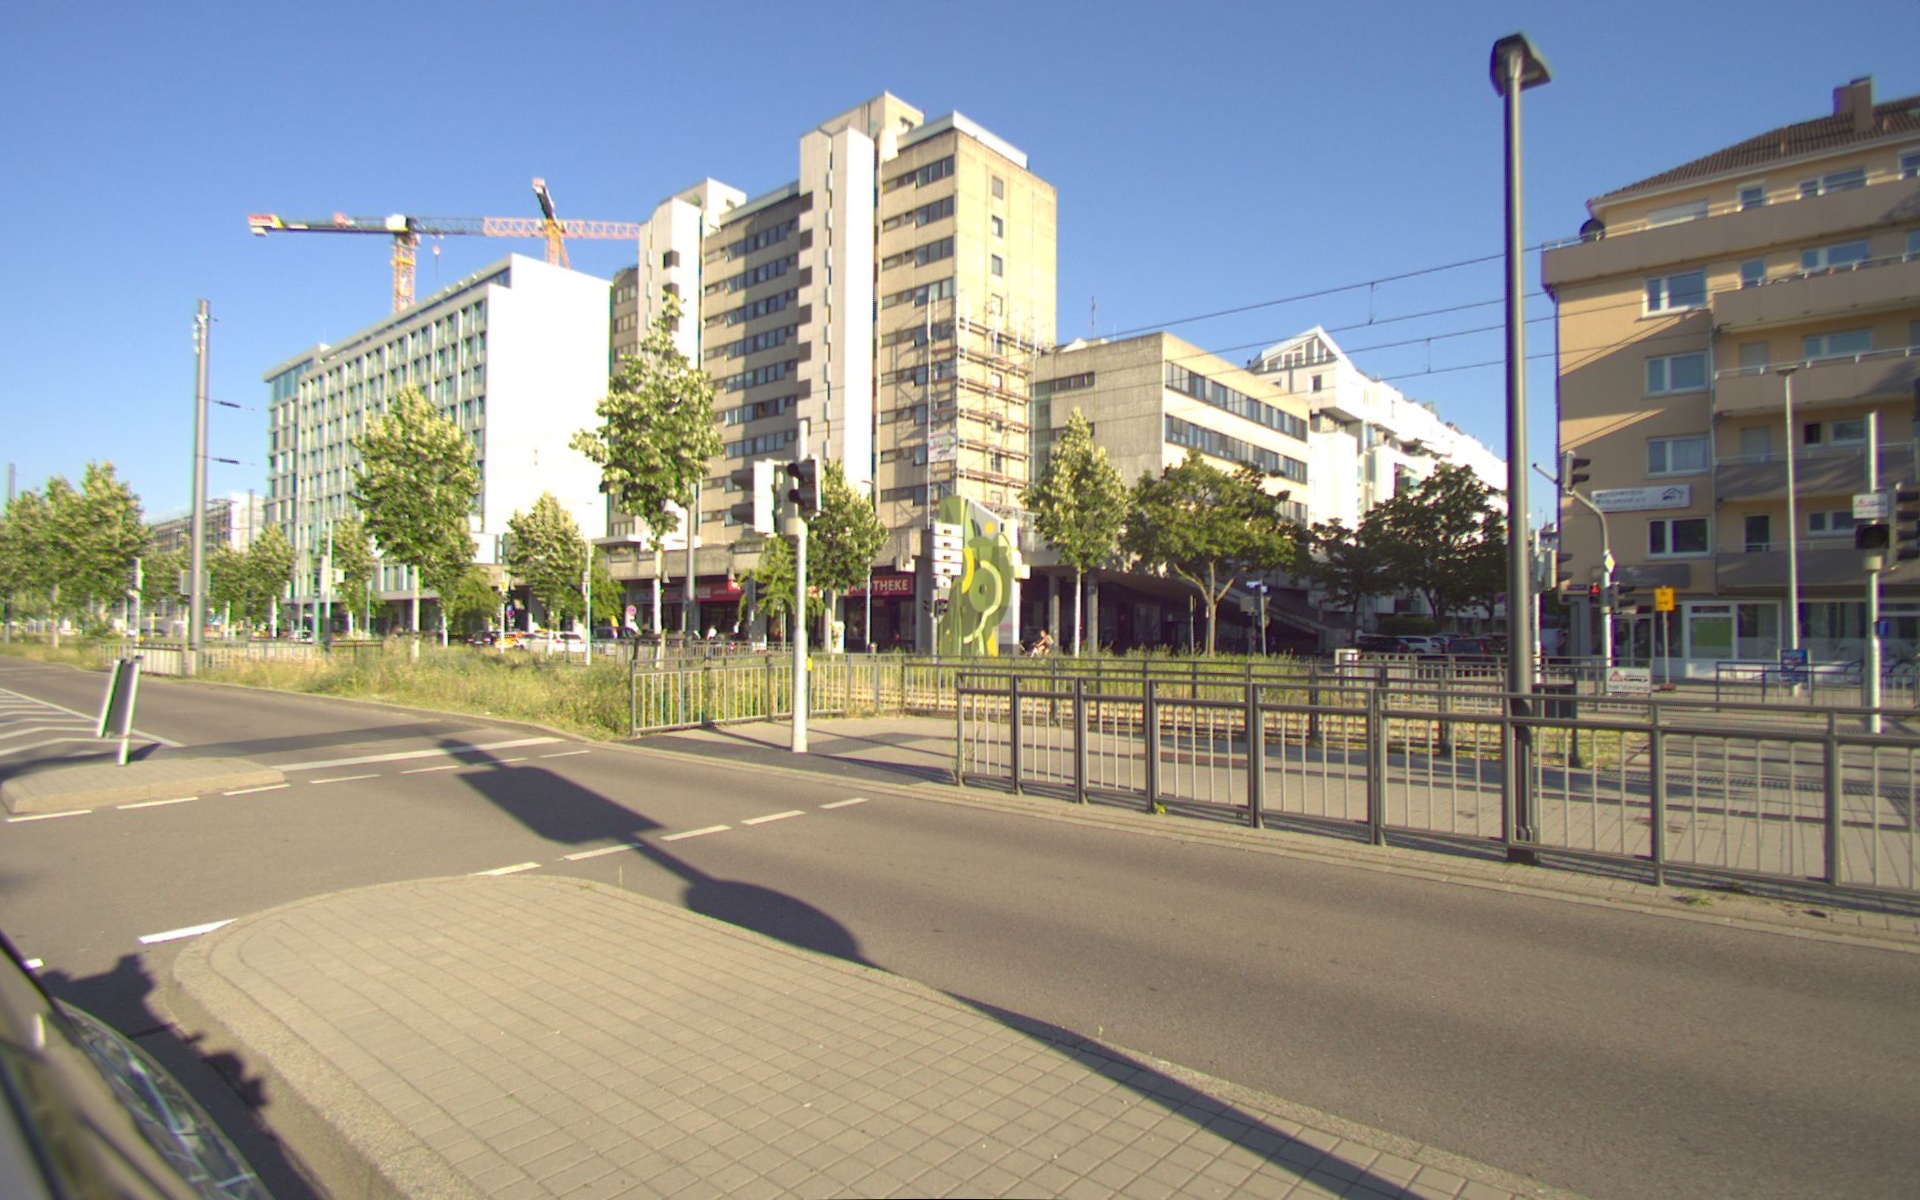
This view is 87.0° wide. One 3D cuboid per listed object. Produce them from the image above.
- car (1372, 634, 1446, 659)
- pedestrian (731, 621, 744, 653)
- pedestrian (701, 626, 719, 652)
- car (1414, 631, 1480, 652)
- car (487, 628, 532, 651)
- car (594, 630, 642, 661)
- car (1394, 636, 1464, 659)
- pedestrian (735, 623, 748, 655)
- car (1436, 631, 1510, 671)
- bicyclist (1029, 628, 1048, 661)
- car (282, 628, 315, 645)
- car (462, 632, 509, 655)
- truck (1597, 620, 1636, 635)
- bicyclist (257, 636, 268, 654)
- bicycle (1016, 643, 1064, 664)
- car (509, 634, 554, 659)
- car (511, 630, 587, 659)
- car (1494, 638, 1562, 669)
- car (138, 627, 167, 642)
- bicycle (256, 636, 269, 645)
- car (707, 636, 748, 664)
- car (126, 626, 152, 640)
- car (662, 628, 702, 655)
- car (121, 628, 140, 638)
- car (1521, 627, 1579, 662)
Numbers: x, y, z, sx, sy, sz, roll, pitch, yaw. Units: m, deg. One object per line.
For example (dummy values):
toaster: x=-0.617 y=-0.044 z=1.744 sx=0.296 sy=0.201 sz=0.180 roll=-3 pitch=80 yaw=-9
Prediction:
car: x=29.188 y=3.004 z=65.819 sx=3.998 sy=1.524 sz=1.972 roll=-2 pitch=-2 yaw=42
pedestrian: x=-14.178 y=2.341 z=64.564 sx=0.654 sy=2.029 sz=0.542 roll=-1 pitch=-2 yaw=40
pedestrian: x=-15.985 y=2.472 z=64.674 sx=0.882 sy=1.652 sz=0.767 roll=-1 pitch=-2 yaw=39
car: x=35.442 y=3.000 z=73.699 sx=3.998 sy=1.524 sz=1.972 roll=-2 pitch=-2 yaw=42
car: x=-31.440 y=2.718 z=70.719 sx=1.762 sy=1.455 sz=3.806 roll=-1 pitch=0 yaw=-5
car: x=-21.108 y=2.776 z=62.684 sx=1.598 sy=1.703 sz=4.197 roll=-1 pitch=0 yaw=-1
car: x=32.283 y=3.268 z=69.719 sx=3.998 sy=1.524 sz=1.972 roll=-2 pitch=-2 yaw=42
pedestrian: x=-14.321 y=2.550 z=66.325 sx=0.654 sy=2.029 sz=0.542 roll=-1 pitch=-2 yaw=40
car: x=20.628 y=1.990 z=40.622 sx=1.845 sy=1.508 sz=3.947 roll=-1 pitch=-2 yaw=39
bicyclist: x=3.382 y=1.892 z=43.540 sx=0.710 sy=1.405 sz=0.732 roll=-1 pitch=-2 yaw=16
car: x=-64.083 y=3.524 z=98.027 sx=3.387 sy=1.477 sz=1.850 roll=-1 pitch=0 yaw=41
car: x=-34.217 y=3.096 z=73.058 sx=1.596 sy=1.455 sz=4.552 roll=-1 pitch=0 yaw=-5
truck: x=93.116 y=3.900 z=143.551 sx=4.611 sy=2.185 sz=1.799 roll=-1 pitch=-2 yaw=37
bicyclist: x=-66.733 y=4.322 z=96.838 sx=0.918 sy=1.758 sz=0.552 roll=-1 pitch=-3 yaw=39
bicycle: x=3.447 y=2.297 z=43.626 sx=2.013 sy=0.898 sz=0.504 roll=-1 pitch=-2 yaw=17
car: x=-29.156 y=3.148 z=68.939 sx=1.597 sy=1.455 sz=3.796 roll=-1 pitch=0 yaw=-3
car: x=-22.032 y=2.364 z=54.189 sx=4.658 sy=1.474 sz=1.758 roll=-1 pitch=-2 yaw=40
car: x=26.166 y=2.410 z=46.568 sx=1.999 sy=1.313 sz=3.946 roll=-1 pitch=-2 yaw=40
car: x=-96.097 y=4.093 z=120.455 sx=4.636 sy=1.600 sz=1.850 roll=-1 pitch=0 yaw=41
bicycle: x=-66.861 y=3.856 z=96.974 sx=2.100 sy=0.869 sz=0.432 roll=-1 pitch=-3 yaw=39
car: x=-12.360 y=2.629 z=53.990 sx=1.597 sy=1.283 sz=3.469 roll=-1 pitch=0 yaw=-4
car: x=-105.714 y=4.213 z=130.249 sx=4.485 sy=1.715 sz=1.850 roll=-1 pitch=0 yaw=41
car: x=-16.098 y=2.391 z=58.747 sx=1.597 sy=1.413 sz=3.469 roll=-1 pitch=0 yaw=-4
car: x=-123.471 y=4.890 z=150.676 sx=3.877 sy=1.388 sz=1.593 roll=-1 pitch=0 yaw=41
car: x=31.116 y=2.318 z=53.338 sx=1.999 sy=1.756 sz=3.946 roll=-1 pitch=-2 yaw=40
